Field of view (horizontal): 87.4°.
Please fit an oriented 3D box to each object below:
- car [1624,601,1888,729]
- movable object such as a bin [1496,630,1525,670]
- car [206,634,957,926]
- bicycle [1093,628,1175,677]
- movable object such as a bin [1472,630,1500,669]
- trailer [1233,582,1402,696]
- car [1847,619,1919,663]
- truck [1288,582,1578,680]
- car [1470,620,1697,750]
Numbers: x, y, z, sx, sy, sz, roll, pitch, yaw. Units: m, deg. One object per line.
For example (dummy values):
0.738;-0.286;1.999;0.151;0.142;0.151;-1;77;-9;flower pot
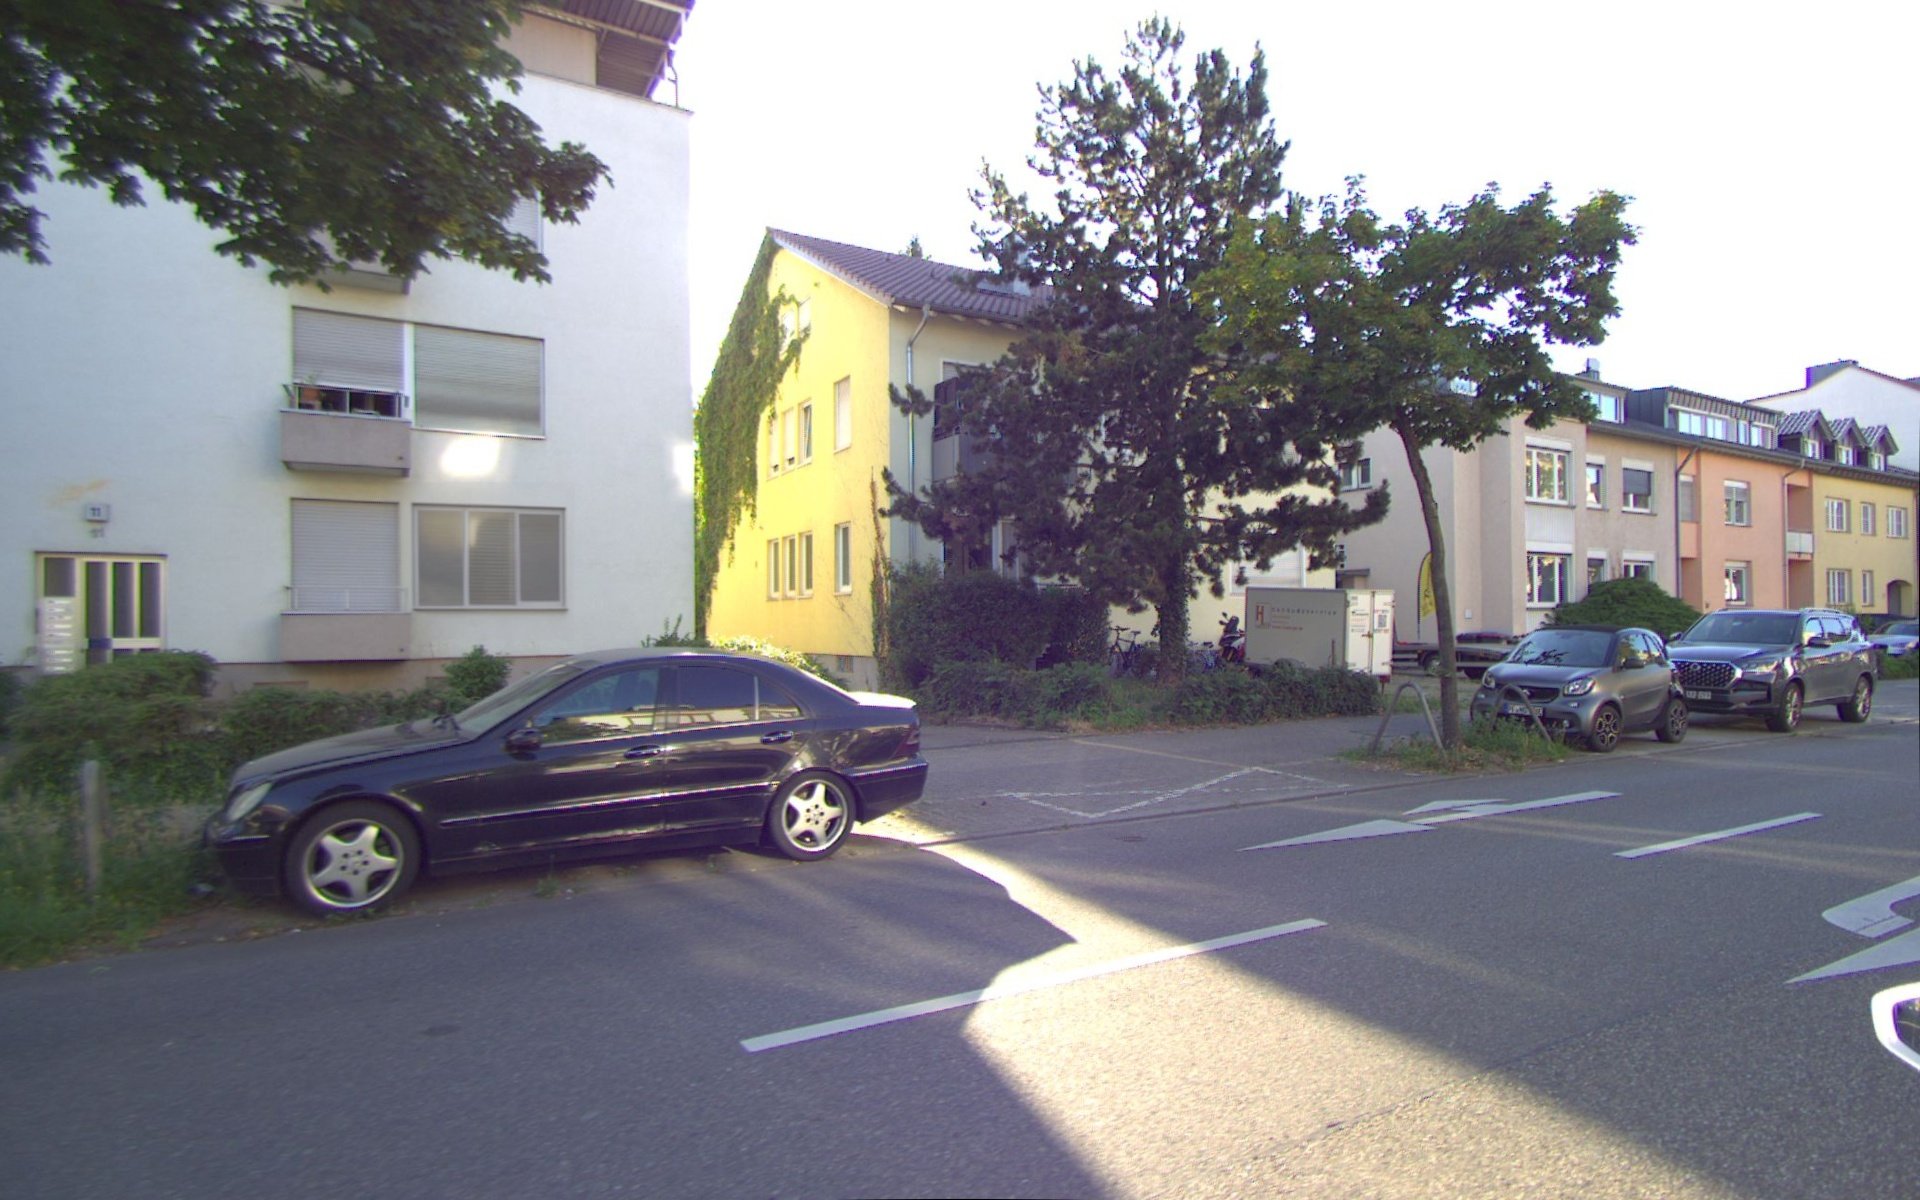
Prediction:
12.899;0.958;16.202;4.673;1.803;1.877;1;-1;-32;car
15.551;1.412;28.397;0.579;1.105;0.486;1;-1;-30;movable object such as a bin
-2.306;0.966;6.888;4.393;1.426;1.629;1;-1;-31;car
3.981;1.169;22.901;2.022;1.078;0.516;1;-1;-31;bicycle
15.124;1.407;28.892;0.579;1.105;0.486;1;-1;-30;movable object such as a bin
6.895;0.742;19.554;1.535;2.040;2.758;1;-2;-32;trailer
32.157;1.388;34.287;3.706;1.427;1.658;1;-2;-29;car
12.063;0.784;26.365;2.249;2.214;6.863;1;-1;-30;truck
8.423;1.061;13.567;2.719;1.576;1.565;1;-1;-32;car
